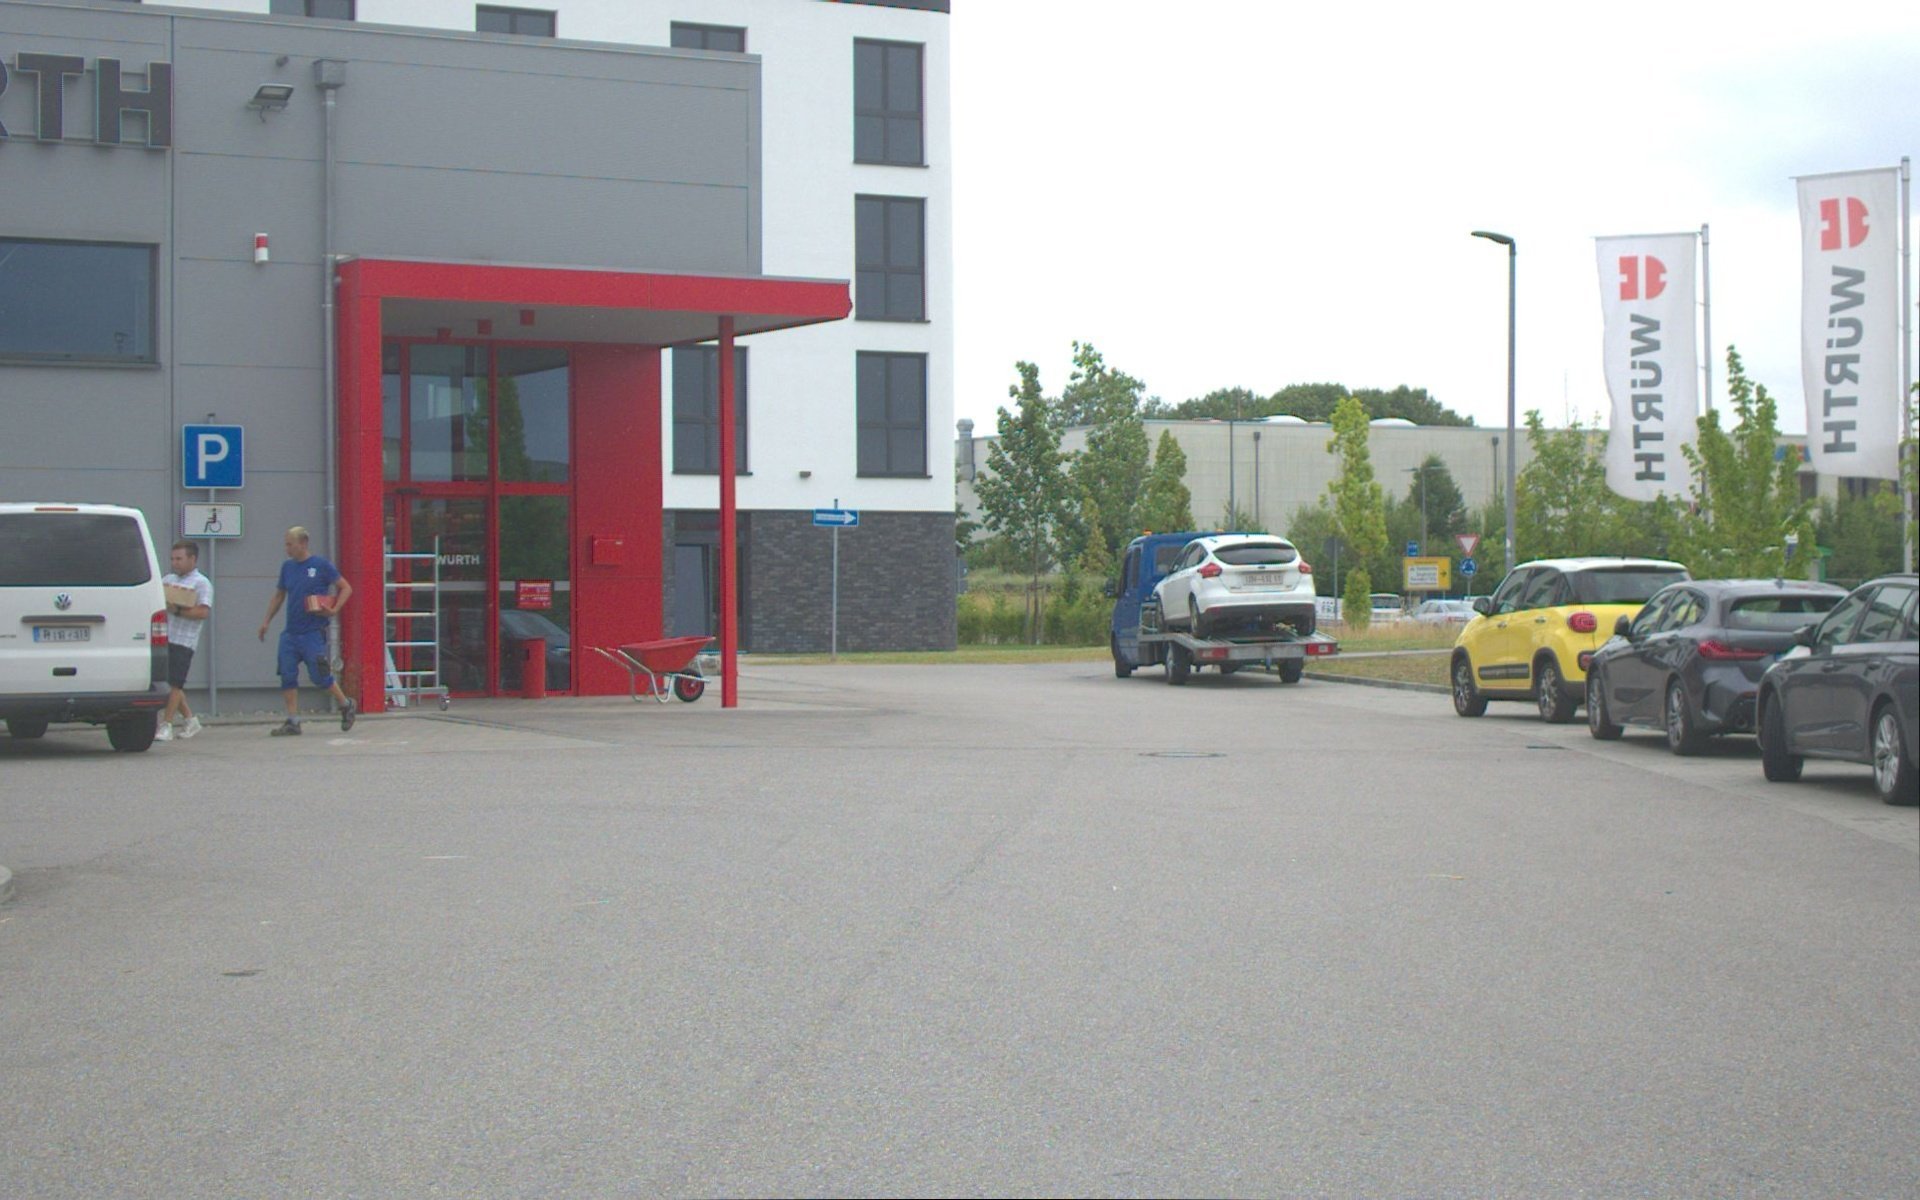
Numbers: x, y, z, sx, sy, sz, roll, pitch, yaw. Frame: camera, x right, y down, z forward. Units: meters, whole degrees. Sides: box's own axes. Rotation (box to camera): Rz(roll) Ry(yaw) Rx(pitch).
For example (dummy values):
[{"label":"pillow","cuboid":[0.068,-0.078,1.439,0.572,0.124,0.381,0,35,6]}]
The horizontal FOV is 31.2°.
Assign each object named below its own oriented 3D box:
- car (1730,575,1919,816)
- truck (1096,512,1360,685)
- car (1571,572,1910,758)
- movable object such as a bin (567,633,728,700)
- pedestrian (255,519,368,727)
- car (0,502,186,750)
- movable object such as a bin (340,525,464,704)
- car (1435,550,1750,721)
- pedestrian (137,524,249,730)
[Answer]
[{"label":"car","cuboid":[6.616,0.570,22.895,1.751,1.464,4.476,0,0,-3]},{"label":"truck","cuboid":[3.928,0.066,52.207,2.331,2.398,7.897,1,-1,-8]},{"label":"car","cuboid":[6.530,0.500,29.212,1.751,1.464,4.108,0,0,-3]},{"label":"movable object such as a bin","cuboid":[-3.361,0.710,36.935,1.488,0.701,0.965,1,0,-23]},{"label":"pedestrian","cuboid":[-5.682,0.199,30.164,0.677,1.796,0.880,0,0,12]},{"label":"car","cuboid":[-7.889,0.213,27.973,2.055,1.849,4.062,-2,1,-28]},{"label":"movable object such as a bin","cuboid":[-5.406,0.136,33.318,0.910,1.666,0.743,-4,2,-28]},{"label":"car","cuboid":[6.486,0.356,35.706,1.856,1.644,4.001,1,0,-11]},{"label":"pedestrian","cuboid":[-6.604,0.226,29.625,0.624,1.745,0.905,0,0,12]}]
